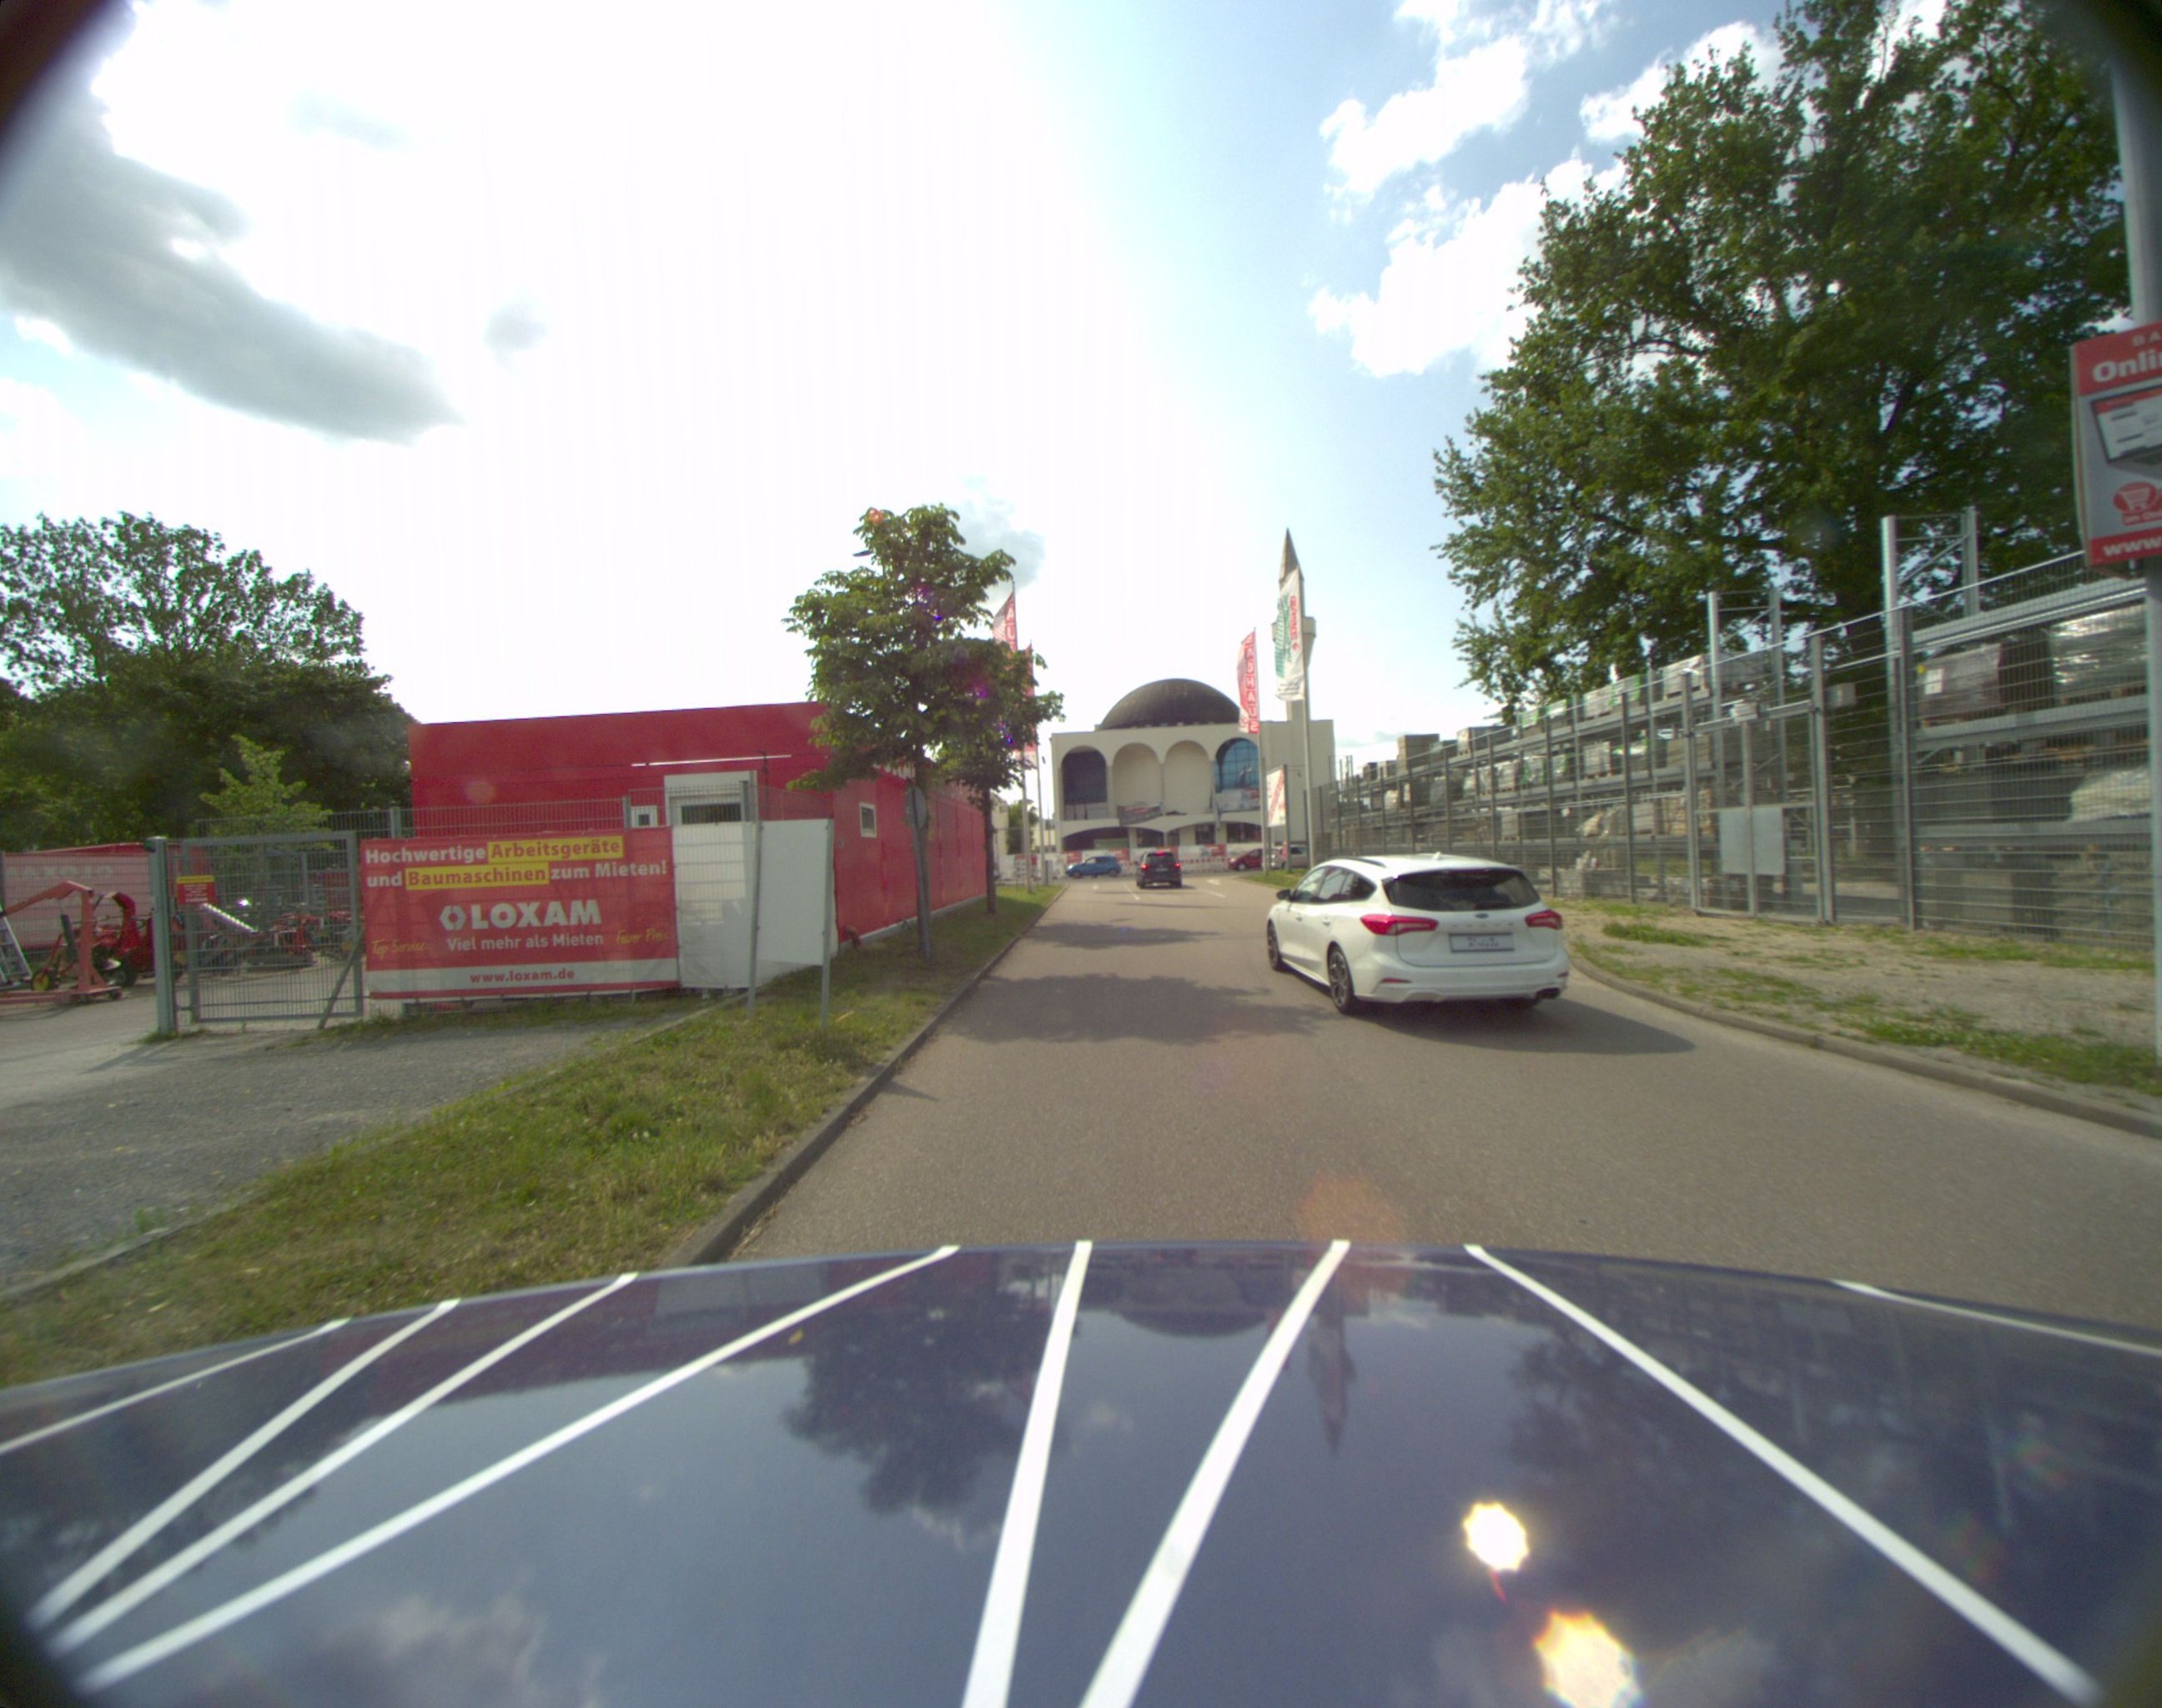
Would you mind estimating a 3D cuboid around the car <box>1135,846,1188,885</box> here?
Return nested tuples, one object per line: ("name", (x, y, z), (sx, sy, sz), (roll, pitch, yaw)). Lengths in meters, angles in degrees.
("car", (3.556, 0.507, 34.428), (1.920, 1.608, 4.374), (-2, 0, 0))

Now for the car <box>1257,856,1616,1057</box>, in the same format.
("car", (3.236, 0.797, 8.009), (1.808, 1.456, 4.329), (-3, 0, 2))

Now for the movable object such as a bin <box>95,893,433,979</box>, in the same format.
("movable object such as a bin", (-16.274, 1.584, 15.411), (3.583, 1.370, 3.085), (-2, -1, 5))

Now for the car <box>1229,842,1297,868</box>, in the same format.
("car", (12.330, 0.065, 51.724), (4.189, 1.501, 1.792), (-3, 1, 2))

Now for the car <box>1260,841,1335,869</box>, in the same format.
("car", (13.601, 0.045, 47.739), (4.211, 1.555, 1.721), (-3, 1, -16))

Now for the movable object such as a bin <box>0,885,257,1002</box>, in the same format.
("movable object such as a bin", (-15.902, 1.439, 12.554), (3.010, 1.660, 1.389), (-2, 0, 1))

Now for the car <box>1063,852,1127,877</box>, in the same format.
("car", (0.979, 0.710, 51.899), (4.192, 1.505, 1.697), (-3, 1, 2))

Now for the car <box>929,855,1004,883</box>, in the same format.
("car", (-7.853, 1.019, 52.226), (4.836, 1.689, 1.868), (-2, -1, -1))

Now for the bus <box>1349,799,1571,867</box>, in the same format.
("bus", (22.257, -1.204, 45.116), (11.558, 3.345, 2.893), (-3, 1, 2))

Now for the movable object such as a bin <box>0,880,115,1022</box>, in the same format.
("movable object such as a bin", (-15.814, 1.365, 10.537), (3.010, 1.833, 1.389), (-2, 0, 1))
